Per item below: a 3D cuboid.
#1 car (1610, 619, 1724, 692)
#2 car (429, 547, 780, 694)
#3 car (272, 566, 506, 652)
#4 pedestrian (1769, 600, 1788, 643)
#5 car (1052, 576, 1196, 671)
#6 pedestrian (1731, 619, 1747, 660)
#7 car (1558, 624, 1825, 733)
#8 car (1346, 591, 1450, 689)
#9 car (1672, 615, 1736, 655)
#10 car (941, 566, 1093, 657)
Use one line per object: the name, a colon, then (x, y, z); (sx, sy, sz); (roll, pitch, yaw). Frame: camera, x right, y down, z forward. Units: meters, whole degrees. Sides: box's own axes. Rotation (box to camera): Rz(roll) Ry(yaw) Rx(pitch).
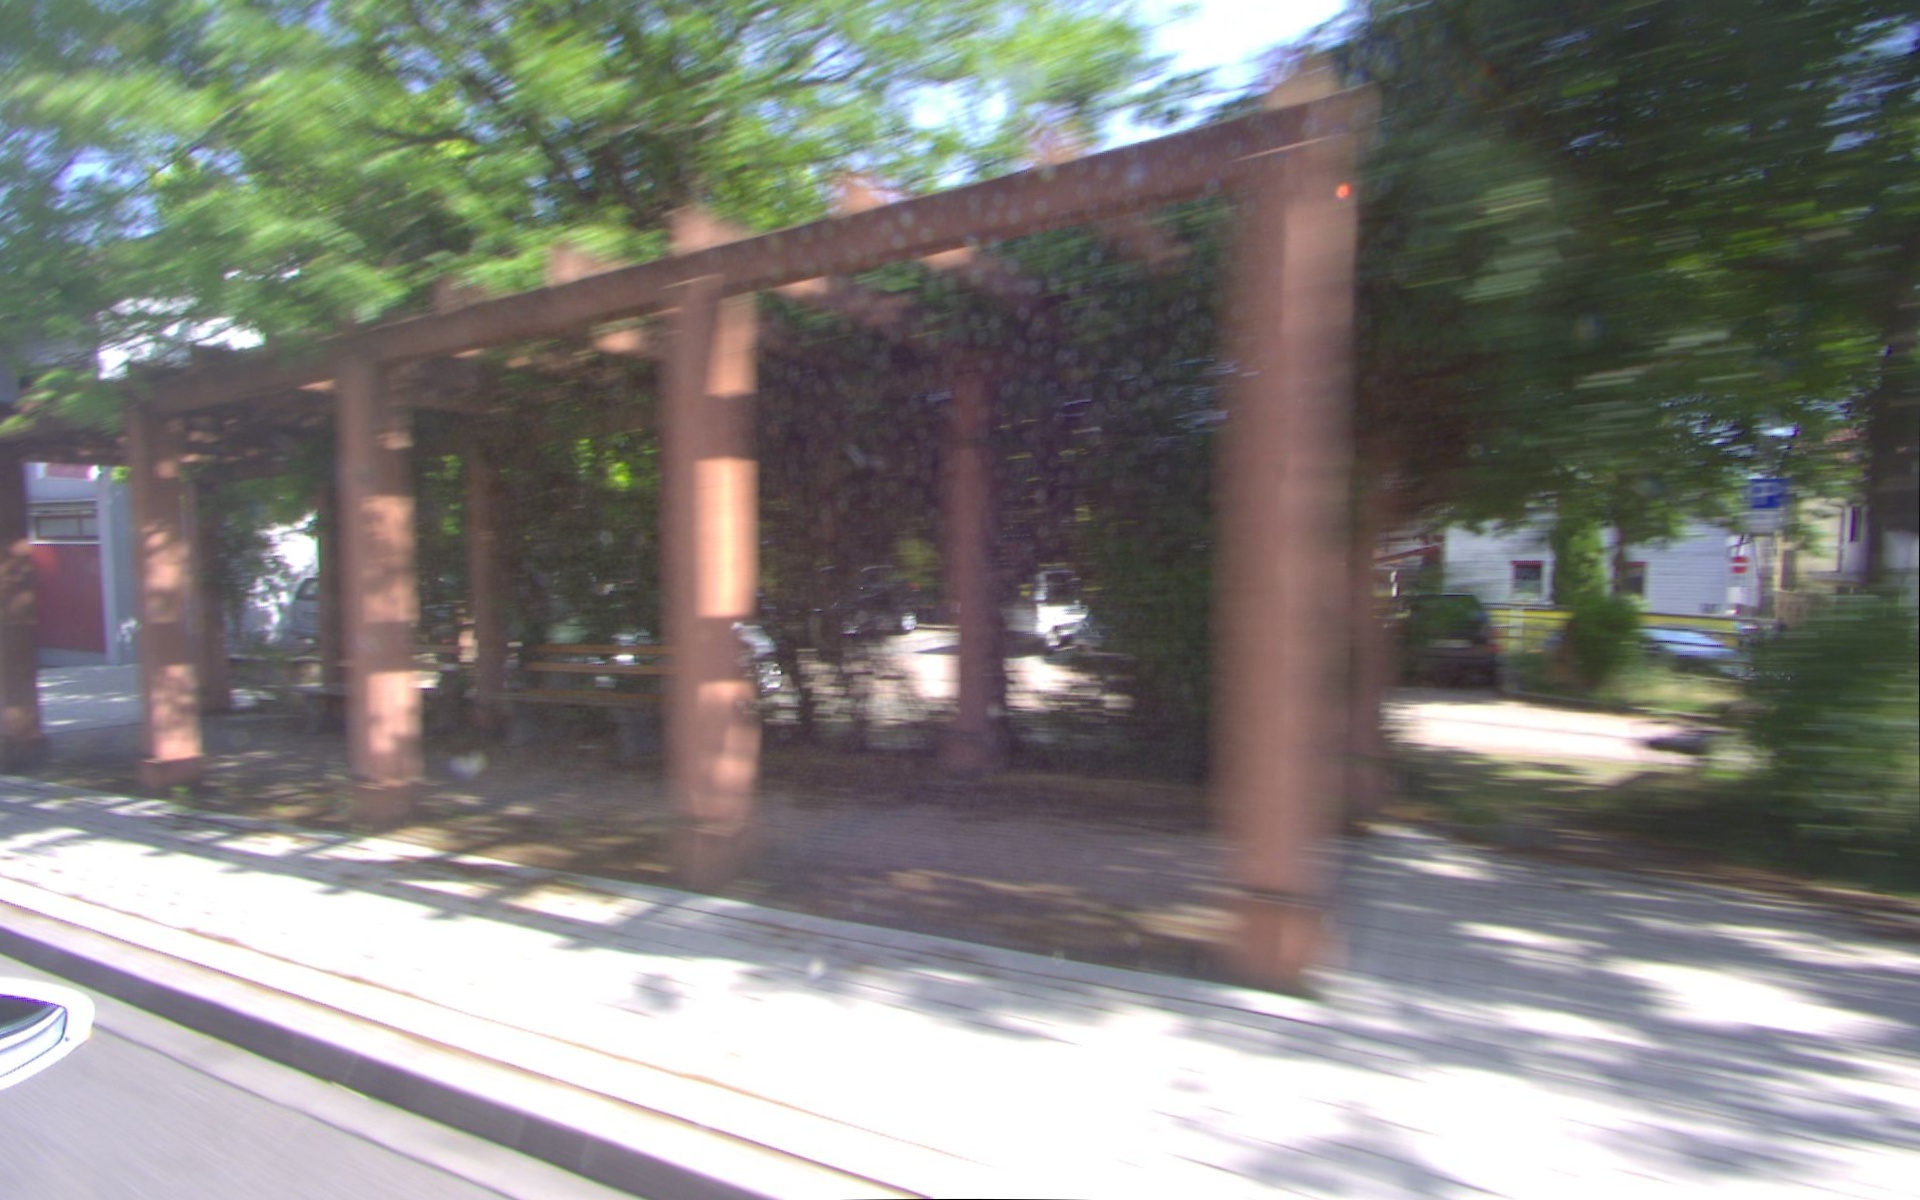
car: (19.552, 1.466, 27.890); (1.926, 1.722, 4.021); (0, 2, 26)
car: (-4.468, 0.132, 13.419); (1.697, 1.566, 4.475); (0, 4, 26)
car: (-11.148, 0.167, 19.804); (1.698, 1.530, 3.693); (0, 0, 29)
pedestrian: (35.713, 0.935, 43.703); (0.587, 1.865, 0.681); (1, 1, 37)
car: (3.307, 0.366, 19.515); (1.728, 1.633, 3.969); (0, 2, 26)
pedestrian: (34.856, 1.754, 44.818); (0.538, 1.775, 0.585); (1, 1, 37)
car: (12.466, 1.269, 17.371); (1.612, 1.593, 3.656); (2, 0, -8)
car: (7.693, 0.595, 17.482); (1.496, 1.451, 3.868); (0, 1, 26)
car: (31.828, 1.490, 42.940); (1.828, 1.614, 4.017); (0, -1, 32)
car: (1.353, 0.180, 21.829); (1.853, 1.764, 4.172); (0, 2, 26)
